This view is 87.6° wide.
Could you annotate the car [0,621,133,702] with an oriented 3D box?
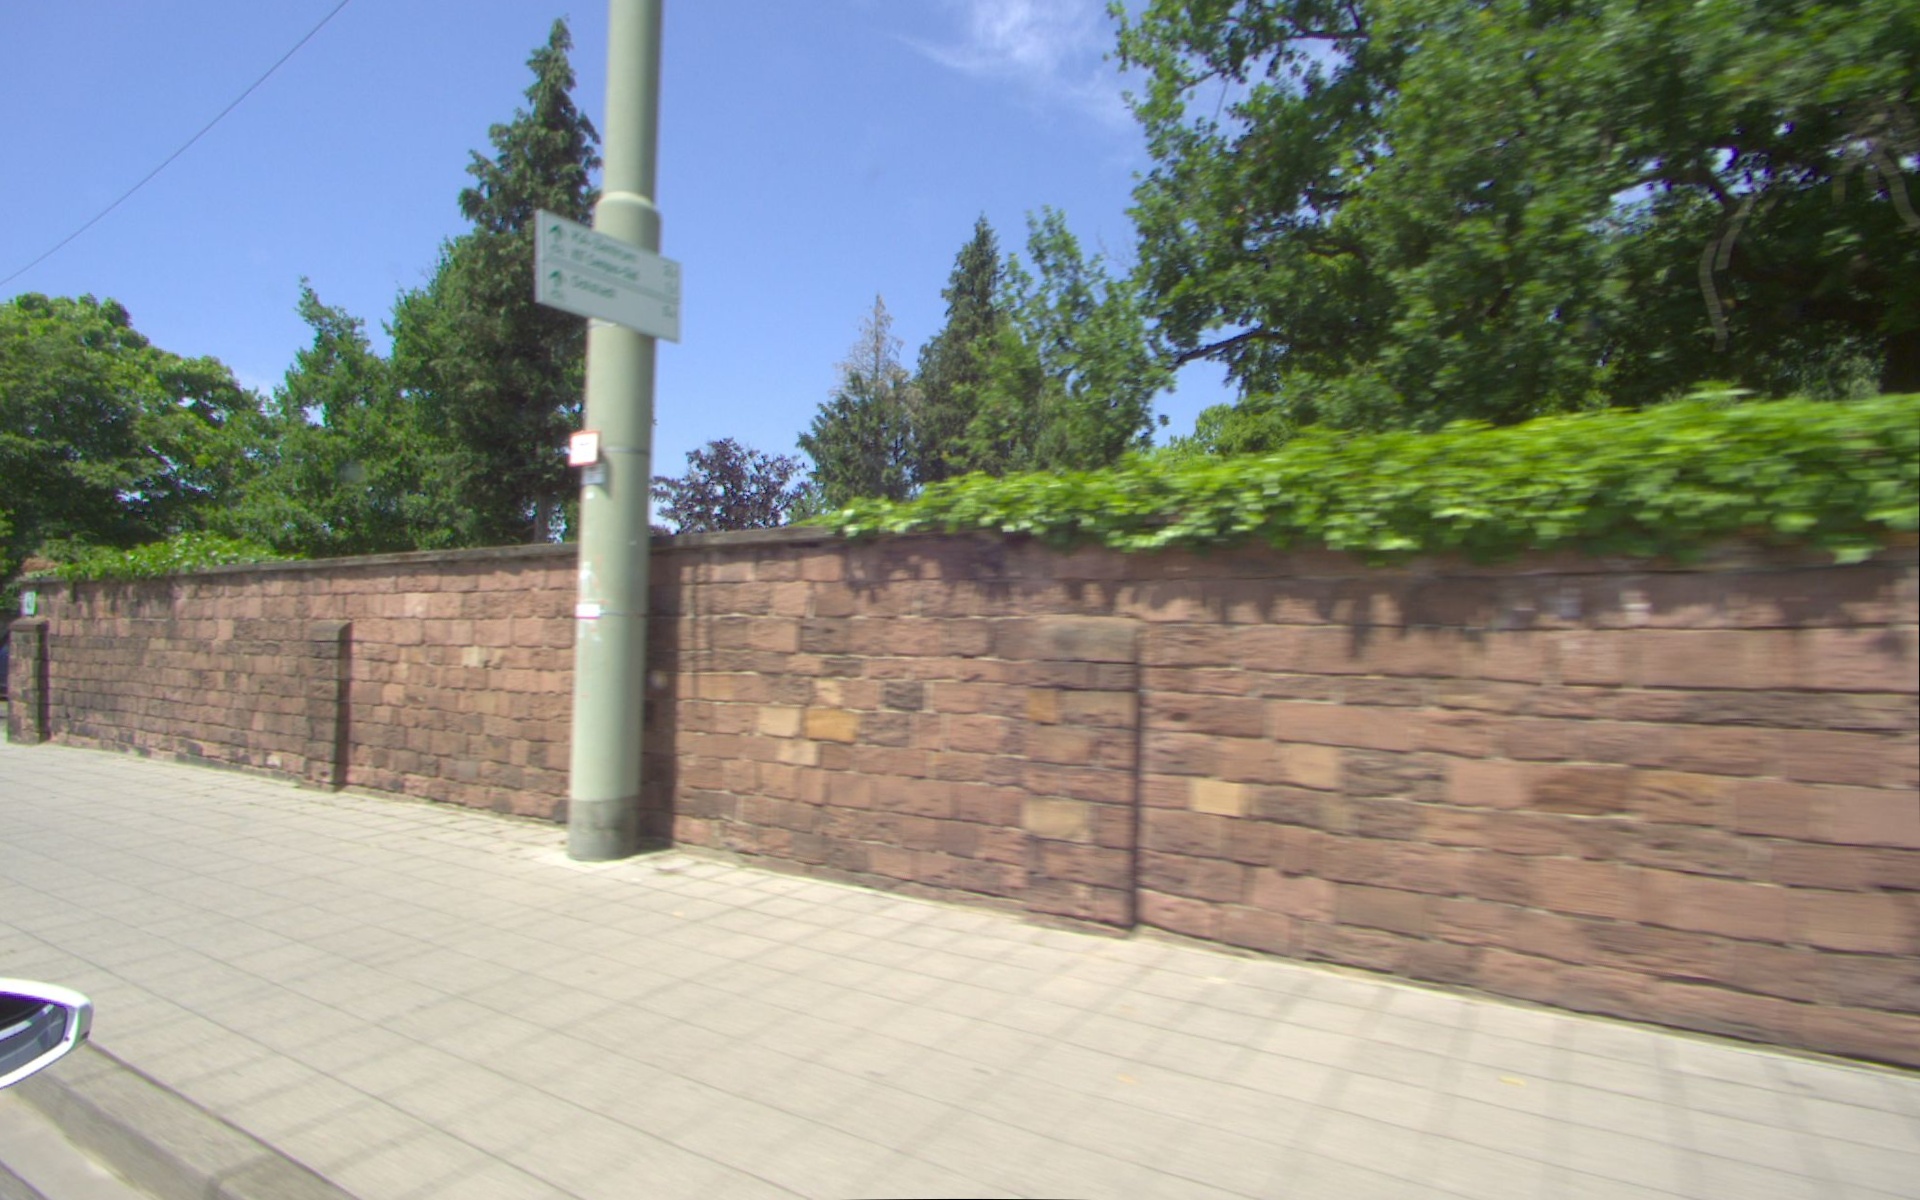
[{"bbox_3d":[-18.042,1.197,19.949,2.901,1.500,1.480,0,-3,31],"label":"car"}]
